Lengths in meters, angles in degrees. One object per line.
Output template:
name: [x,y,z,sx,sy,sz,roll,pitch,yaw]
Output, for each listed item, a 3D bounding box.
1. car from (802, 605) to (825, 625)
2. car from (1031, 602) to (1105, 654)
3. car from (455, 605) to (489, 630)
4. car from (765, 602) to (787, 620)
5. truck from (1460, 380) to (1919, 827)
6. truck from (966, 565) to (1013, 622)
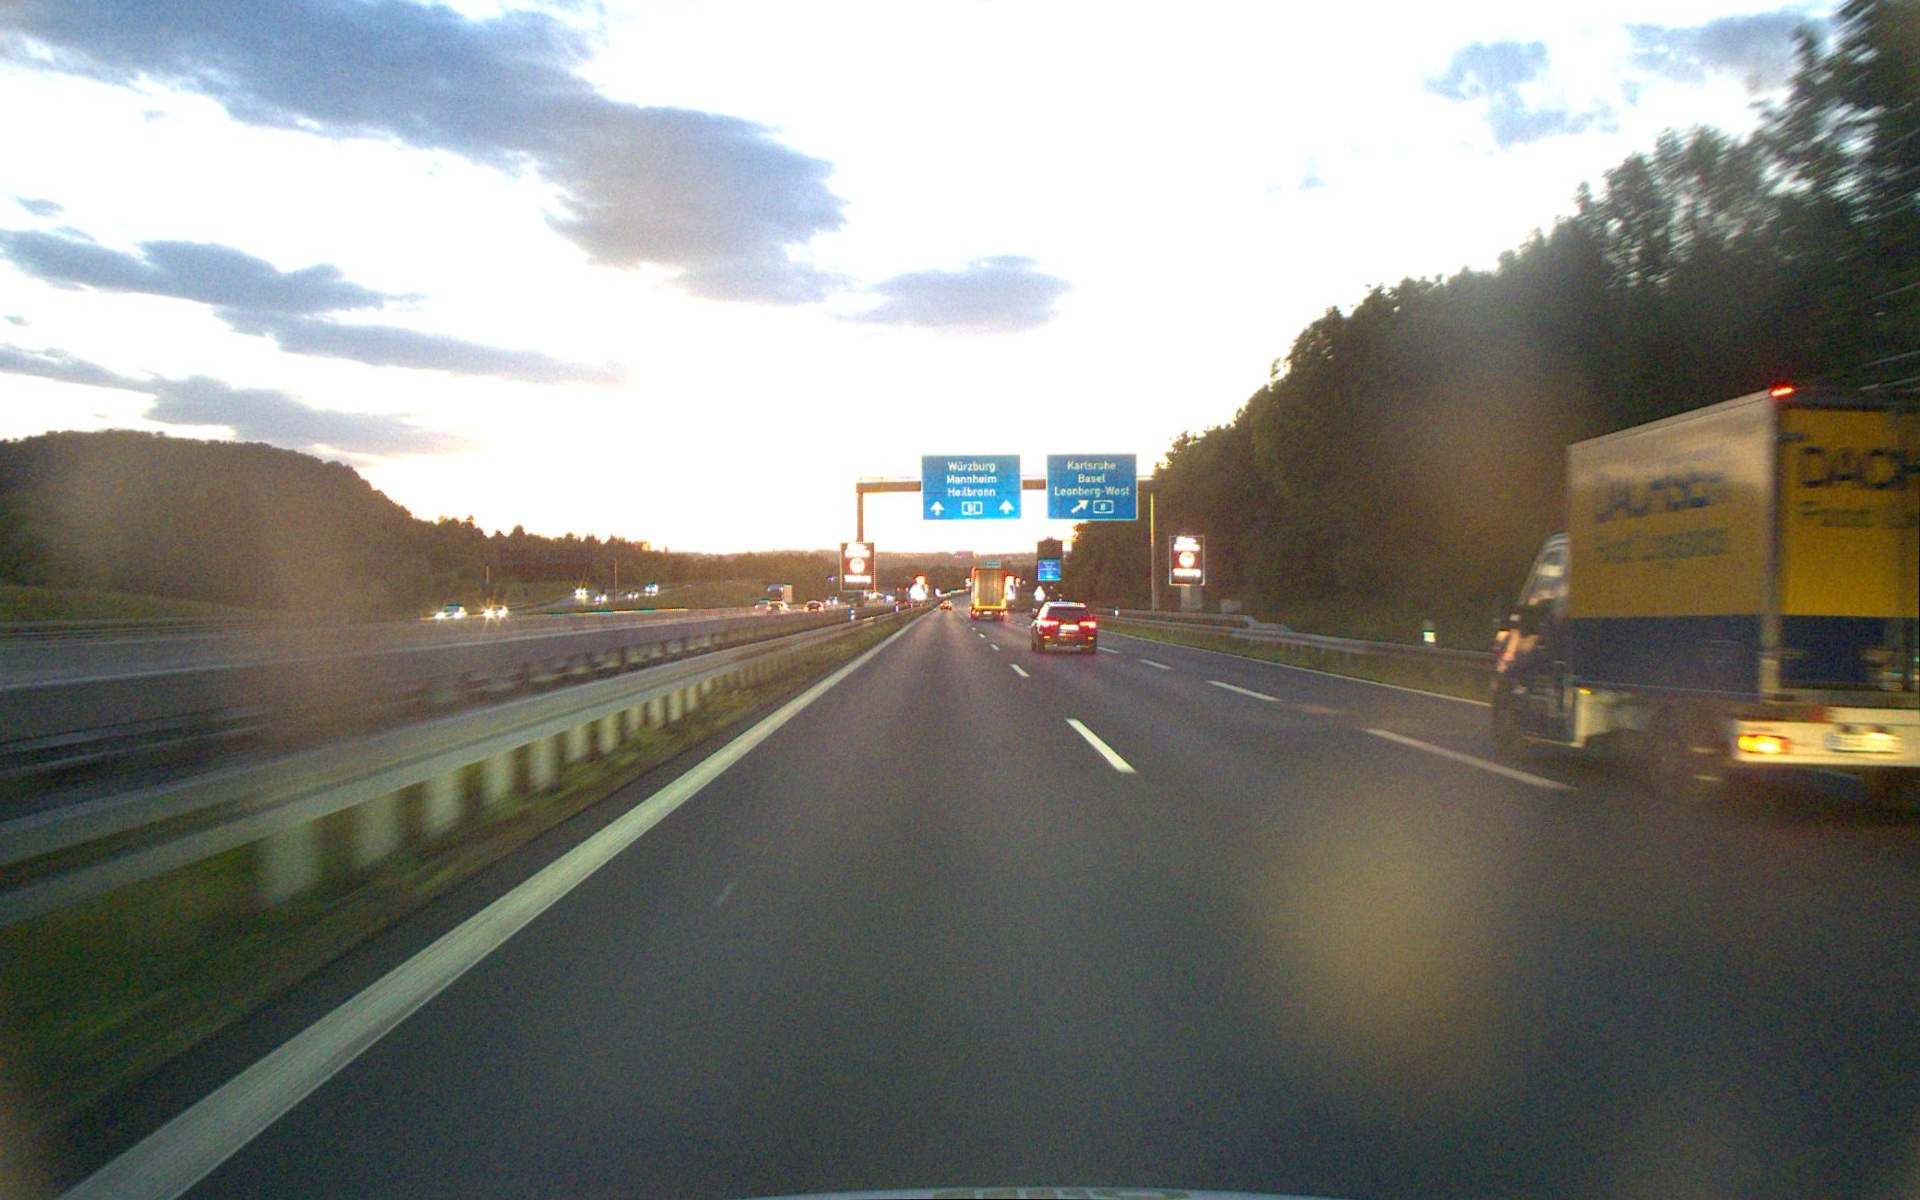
car: [-12.631,1.309,142.434,1.678,1.634,3.721,-1,0,-1]
car: [3.177,0.806,49.313,1.876,1.467,3.999,-1,0,-1]
car: [-42.227,1.489,143.193,1.955,2.049,4.728,-1,0,-5]
car: [-16.531,1.024,148.958,1.604,1.573,3.394,-1,0,0]
truck: [6.612,0.033,14.611,2.222,3.024,6.630,1,0,-1]
truck: [2.330,-0.487,133.695,3.438,4.376,9.889,-1,0,-1]
